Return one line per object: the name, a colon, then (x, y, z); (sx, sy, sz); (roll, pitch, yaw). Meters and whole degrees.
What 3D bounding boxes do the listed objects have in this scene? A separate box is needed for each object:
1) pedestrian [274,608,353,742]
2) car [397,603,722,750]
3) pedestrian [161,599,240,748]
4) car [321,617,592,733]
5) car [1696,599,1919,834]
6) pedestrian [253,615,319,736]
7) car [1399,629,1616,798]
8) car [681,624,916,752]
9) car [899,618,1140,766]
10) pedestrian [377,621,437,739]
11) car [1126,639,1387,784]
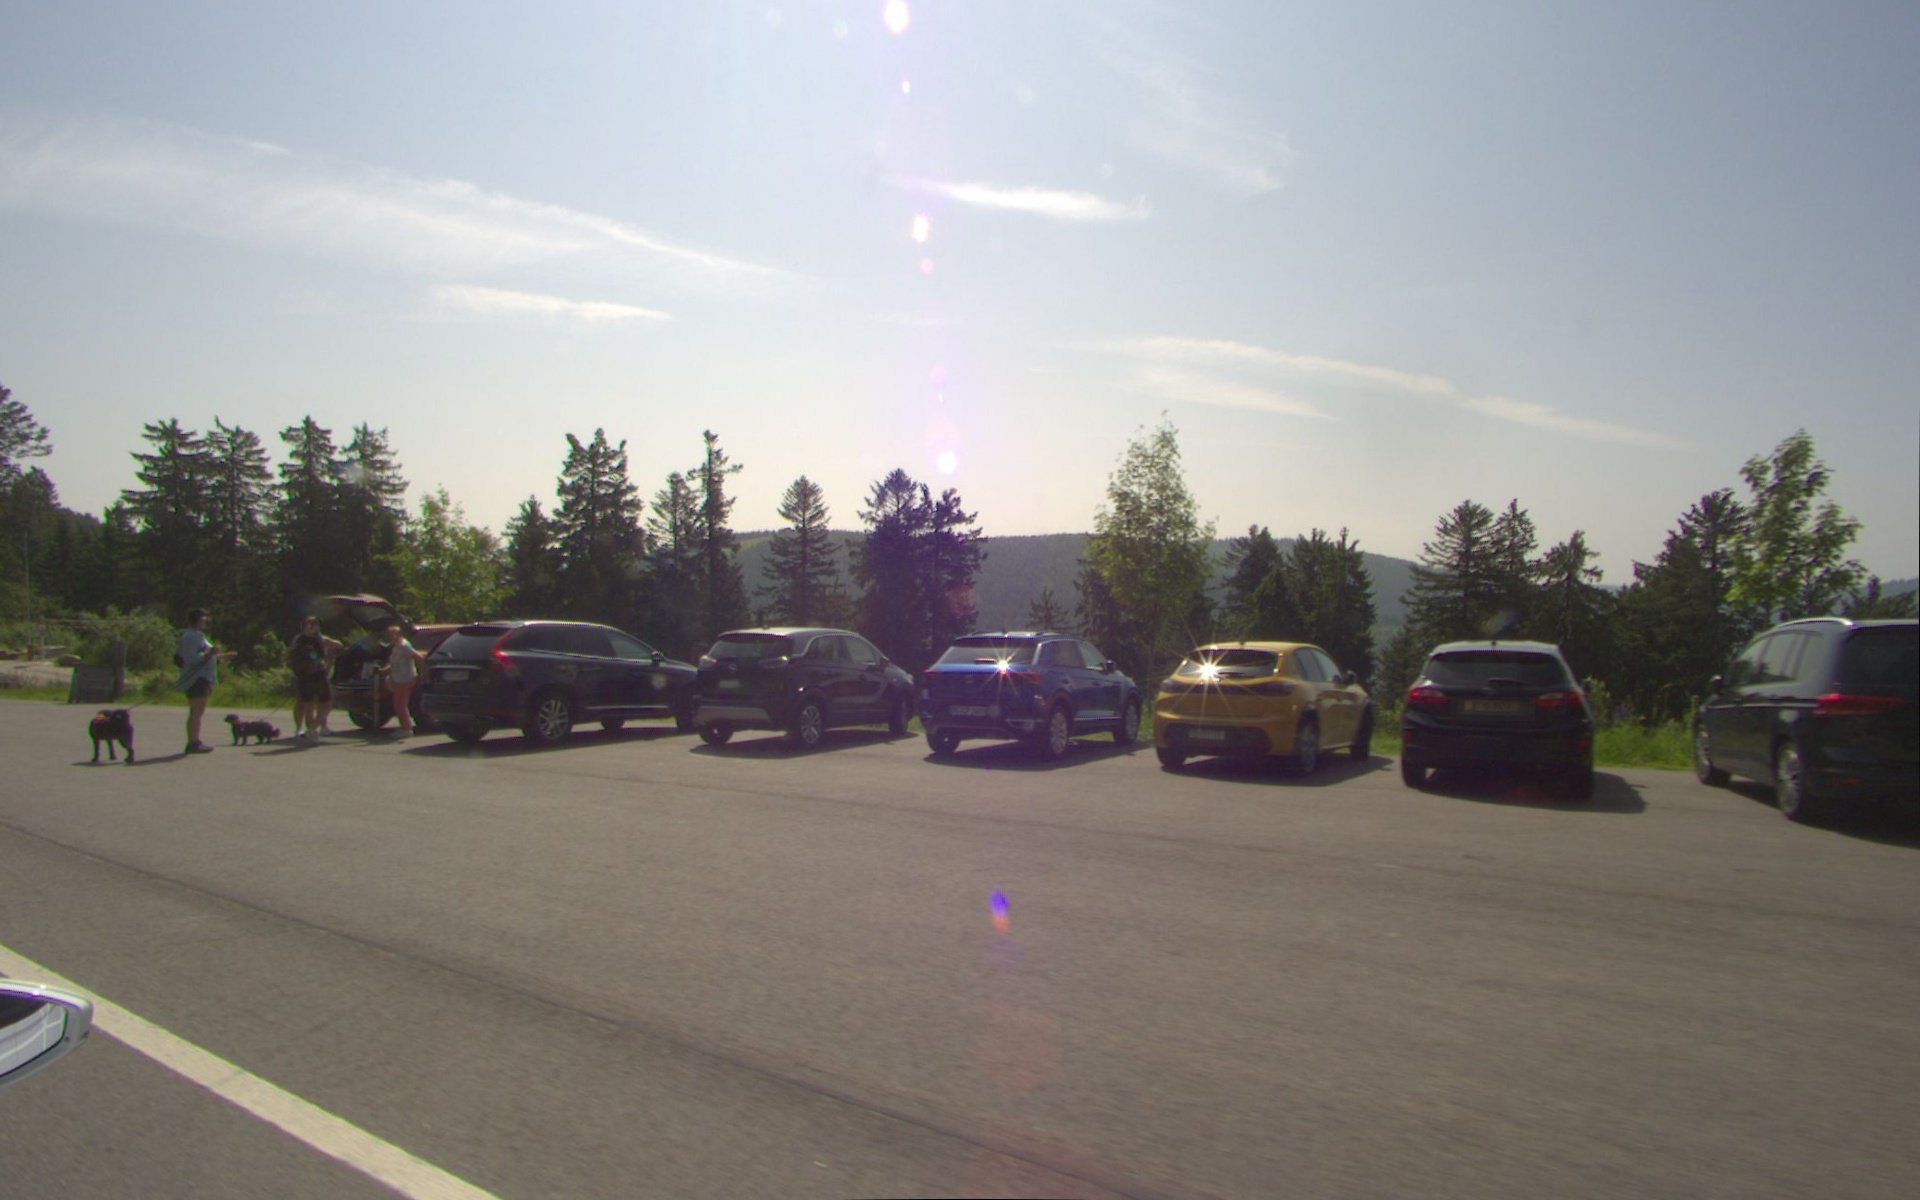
pedestrian: (-8.572, 0.970, 13.278); (0.611, 1.714, 0.713); (0, -1, 37)
car: (-5.640, 1.024, 14.695); (1.863, 1.816, 4.262); (-2, -2, 27)
pedestrian: (-9.473, 0.893, 12.488); (0.714, 1.798, 0.615); (0, 0, 37)
car: (-8.155, 1.182, 16.606); (1.626, 1.681, 3.820); (0, -3, 25)
car: (7.884, 0.931, 8.795); (1.575, 1.667, 3.989); (0, -3, 26)
pedestrian: (-9.777, 1.071, 14.530); (0.680, 1.683, 0.649); (2, 2, 43)
car: (5.948, 1.128, 10.855); (1.737, 1.454, 3.995); (-1, -4, 30)
car: (-2.176, 1.149, 14.508); (1.574, 1.587, 3.754); (0, -1, 24)
car: (0.968, 1.090, 13.497); (1.777, 1.556, 3.987); (4, 0, 26)
pedestrian: (-7.917, 1.121, 14.331); (0.612, 1.609, 0.729); (-1, 2, -41)
car: (3.753, 1.201, 12.191); (1.960, 1.370, 3.977); (-1, -1, 34)
